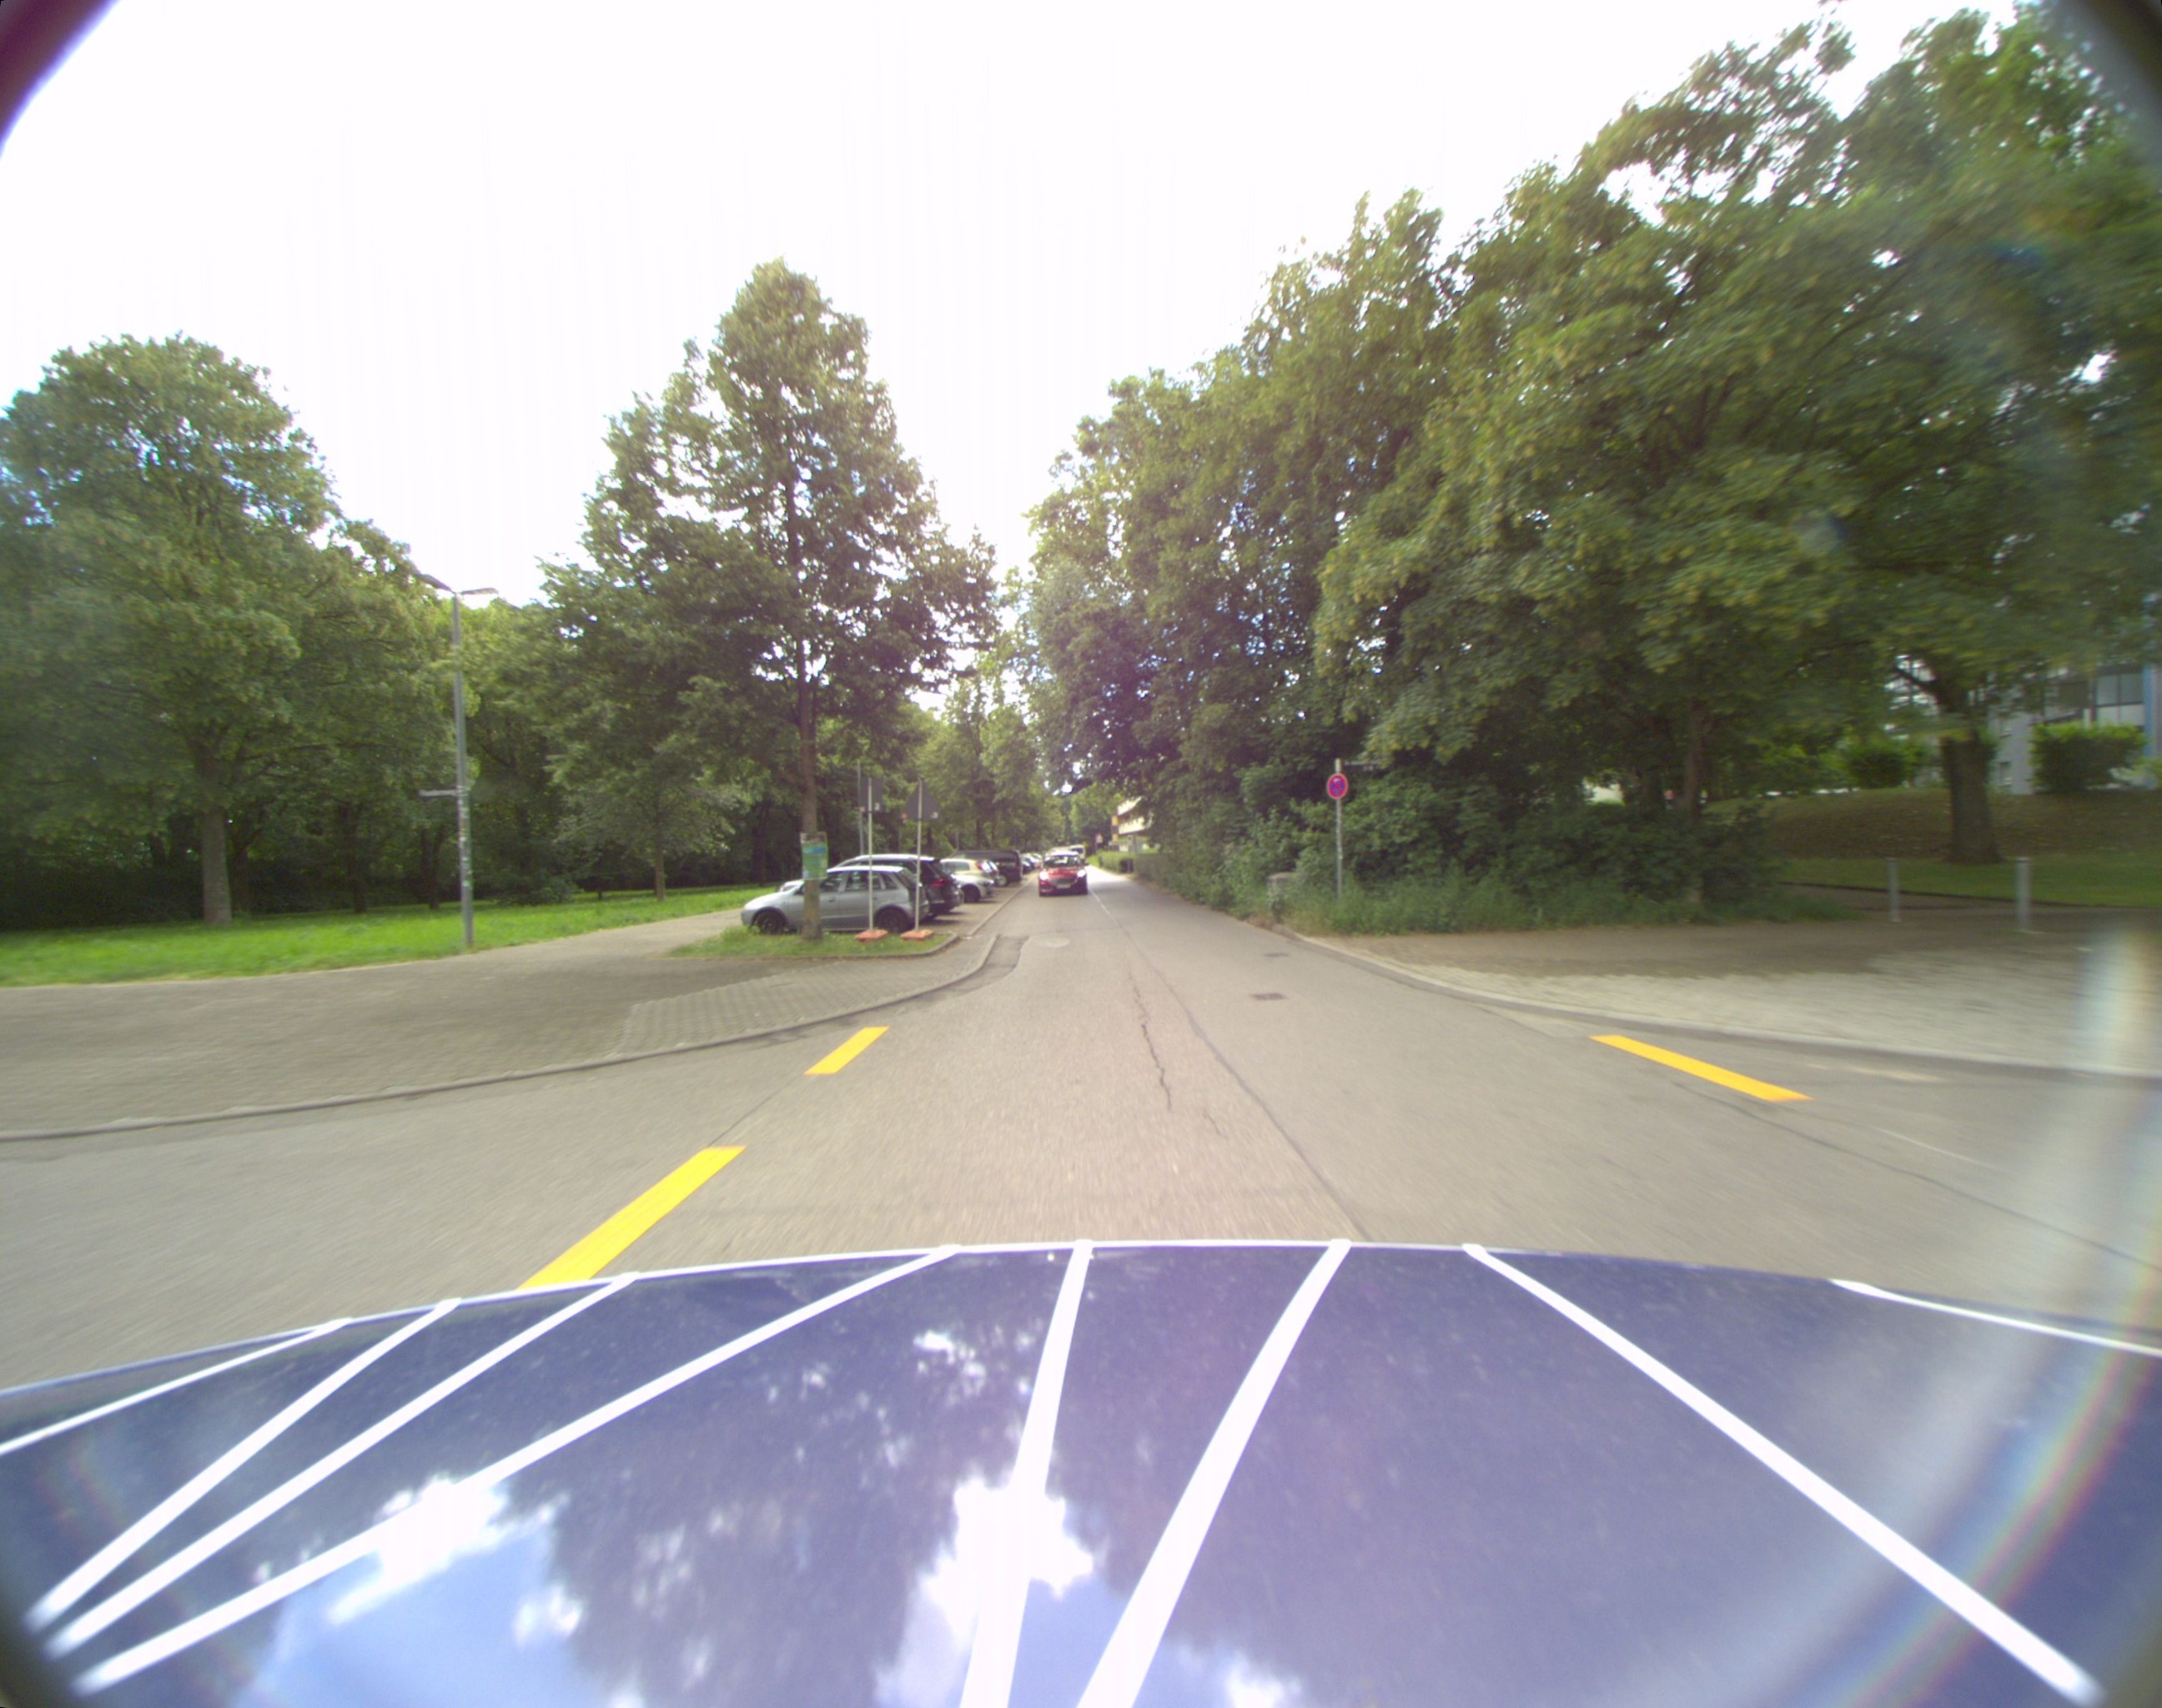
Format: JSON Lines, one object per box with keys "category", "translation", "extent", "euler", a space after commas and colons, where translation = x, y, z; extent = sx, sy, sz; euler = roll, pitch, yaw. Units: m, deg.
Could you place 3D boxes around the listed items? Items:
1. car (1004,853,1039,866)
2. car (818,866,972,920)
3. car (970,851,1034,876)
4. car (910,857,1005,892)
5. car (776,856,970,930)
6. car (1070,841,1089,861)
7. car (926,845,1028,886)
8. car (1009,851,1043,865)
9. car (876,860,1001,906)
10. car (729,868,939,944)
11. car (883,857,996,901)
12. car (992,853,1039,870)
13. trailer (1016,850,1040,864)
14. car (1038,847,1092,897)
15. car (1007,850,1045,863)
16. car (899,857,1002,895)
{"category": "car", "translation": [-6.988, 0.634, 89.299], "extent": [4.020, 1.414, 1.791], "euler": [-1, 1, -7]}
{"category": "car", "translation": [-5.173, 1.067, 21.456], "extent": [3.841, 1.351, 1.822], "euler": [-1, 1, 2]}
{"category": "car", "translation": [-5.627, 0.657, 54.684], "extent": [4.427, 1.666, 2.082], "euler": [-1, 0, -2]}
{"category": "car", "translation": [-5.482, 0.895, 34.175], "extent": [3.971, 1.502, 1.793], "euler": [0, 0, 0]}
{"category": "car", "translation": [-5.003, 0.917, 18.704], "extent": [4.133, 1.640, 1.980], "euler": [-1, 1, 2]}
{"category": "car", "translation": [-0.192, -0.369, 98.709], "extent": [2.137, 2.461, 6.276], "euler": [-4, 0, 0]}
{"category": "car", "translation": [-5.280, 0.563, 39.151], "extent": [4.967, 2.002, 2.165], "euler": [0, 0, 0]}
{"category": "car", "translation": [-6.631, 0.499, 91.634], "extent": [4.124, 1.539, 1.860], "euler": [-1, 1, -4]}
{"category": "car", "translation": [-4.896, 0.973, 26.545], "extent": [3.997, 1.422, 1.935], "euler": [-1, 1, -2]}
{"category": "car", "translation": [-5.151, 1.063, 16.226], "extent": [3.842, 1.395, 1.852], "euler": [-1, 1, 0]}
{"category": "car", "translation": [-5.387, 0.939, 29.336], "extent": [3.997, 1.519, 1.810], "euler": [-1, 1, -1]}
{"category": "car", "translation": [-5.802, 0.674, 67.701], "extent": [4.083, 1.448, 1.851], "euler": [-1, 1, -1]}
{"category": "trailer", "translation": [-6.745, 0.391, 96.886], "extent": [3.038, 1.780, 1.562], "euler": [-1, 1, -4]}
{"category": "car", "translation": [-0.658, 0.650, 30.488], "extent": [1.918, 1.707, 5.037], "euler": [-3, 1, -2]}
{"category": "car", "translation": [-7.366, 0.301, 102.109], "extent": [4.829, 1.683, 1.974], "euler": [-1, 1, 2]}
{"category": "car", "translation": [-5.405, 0.912, 31.840], "extent": [3.971, 1.502, 1.763], "euler": [0, 0, 1]}
